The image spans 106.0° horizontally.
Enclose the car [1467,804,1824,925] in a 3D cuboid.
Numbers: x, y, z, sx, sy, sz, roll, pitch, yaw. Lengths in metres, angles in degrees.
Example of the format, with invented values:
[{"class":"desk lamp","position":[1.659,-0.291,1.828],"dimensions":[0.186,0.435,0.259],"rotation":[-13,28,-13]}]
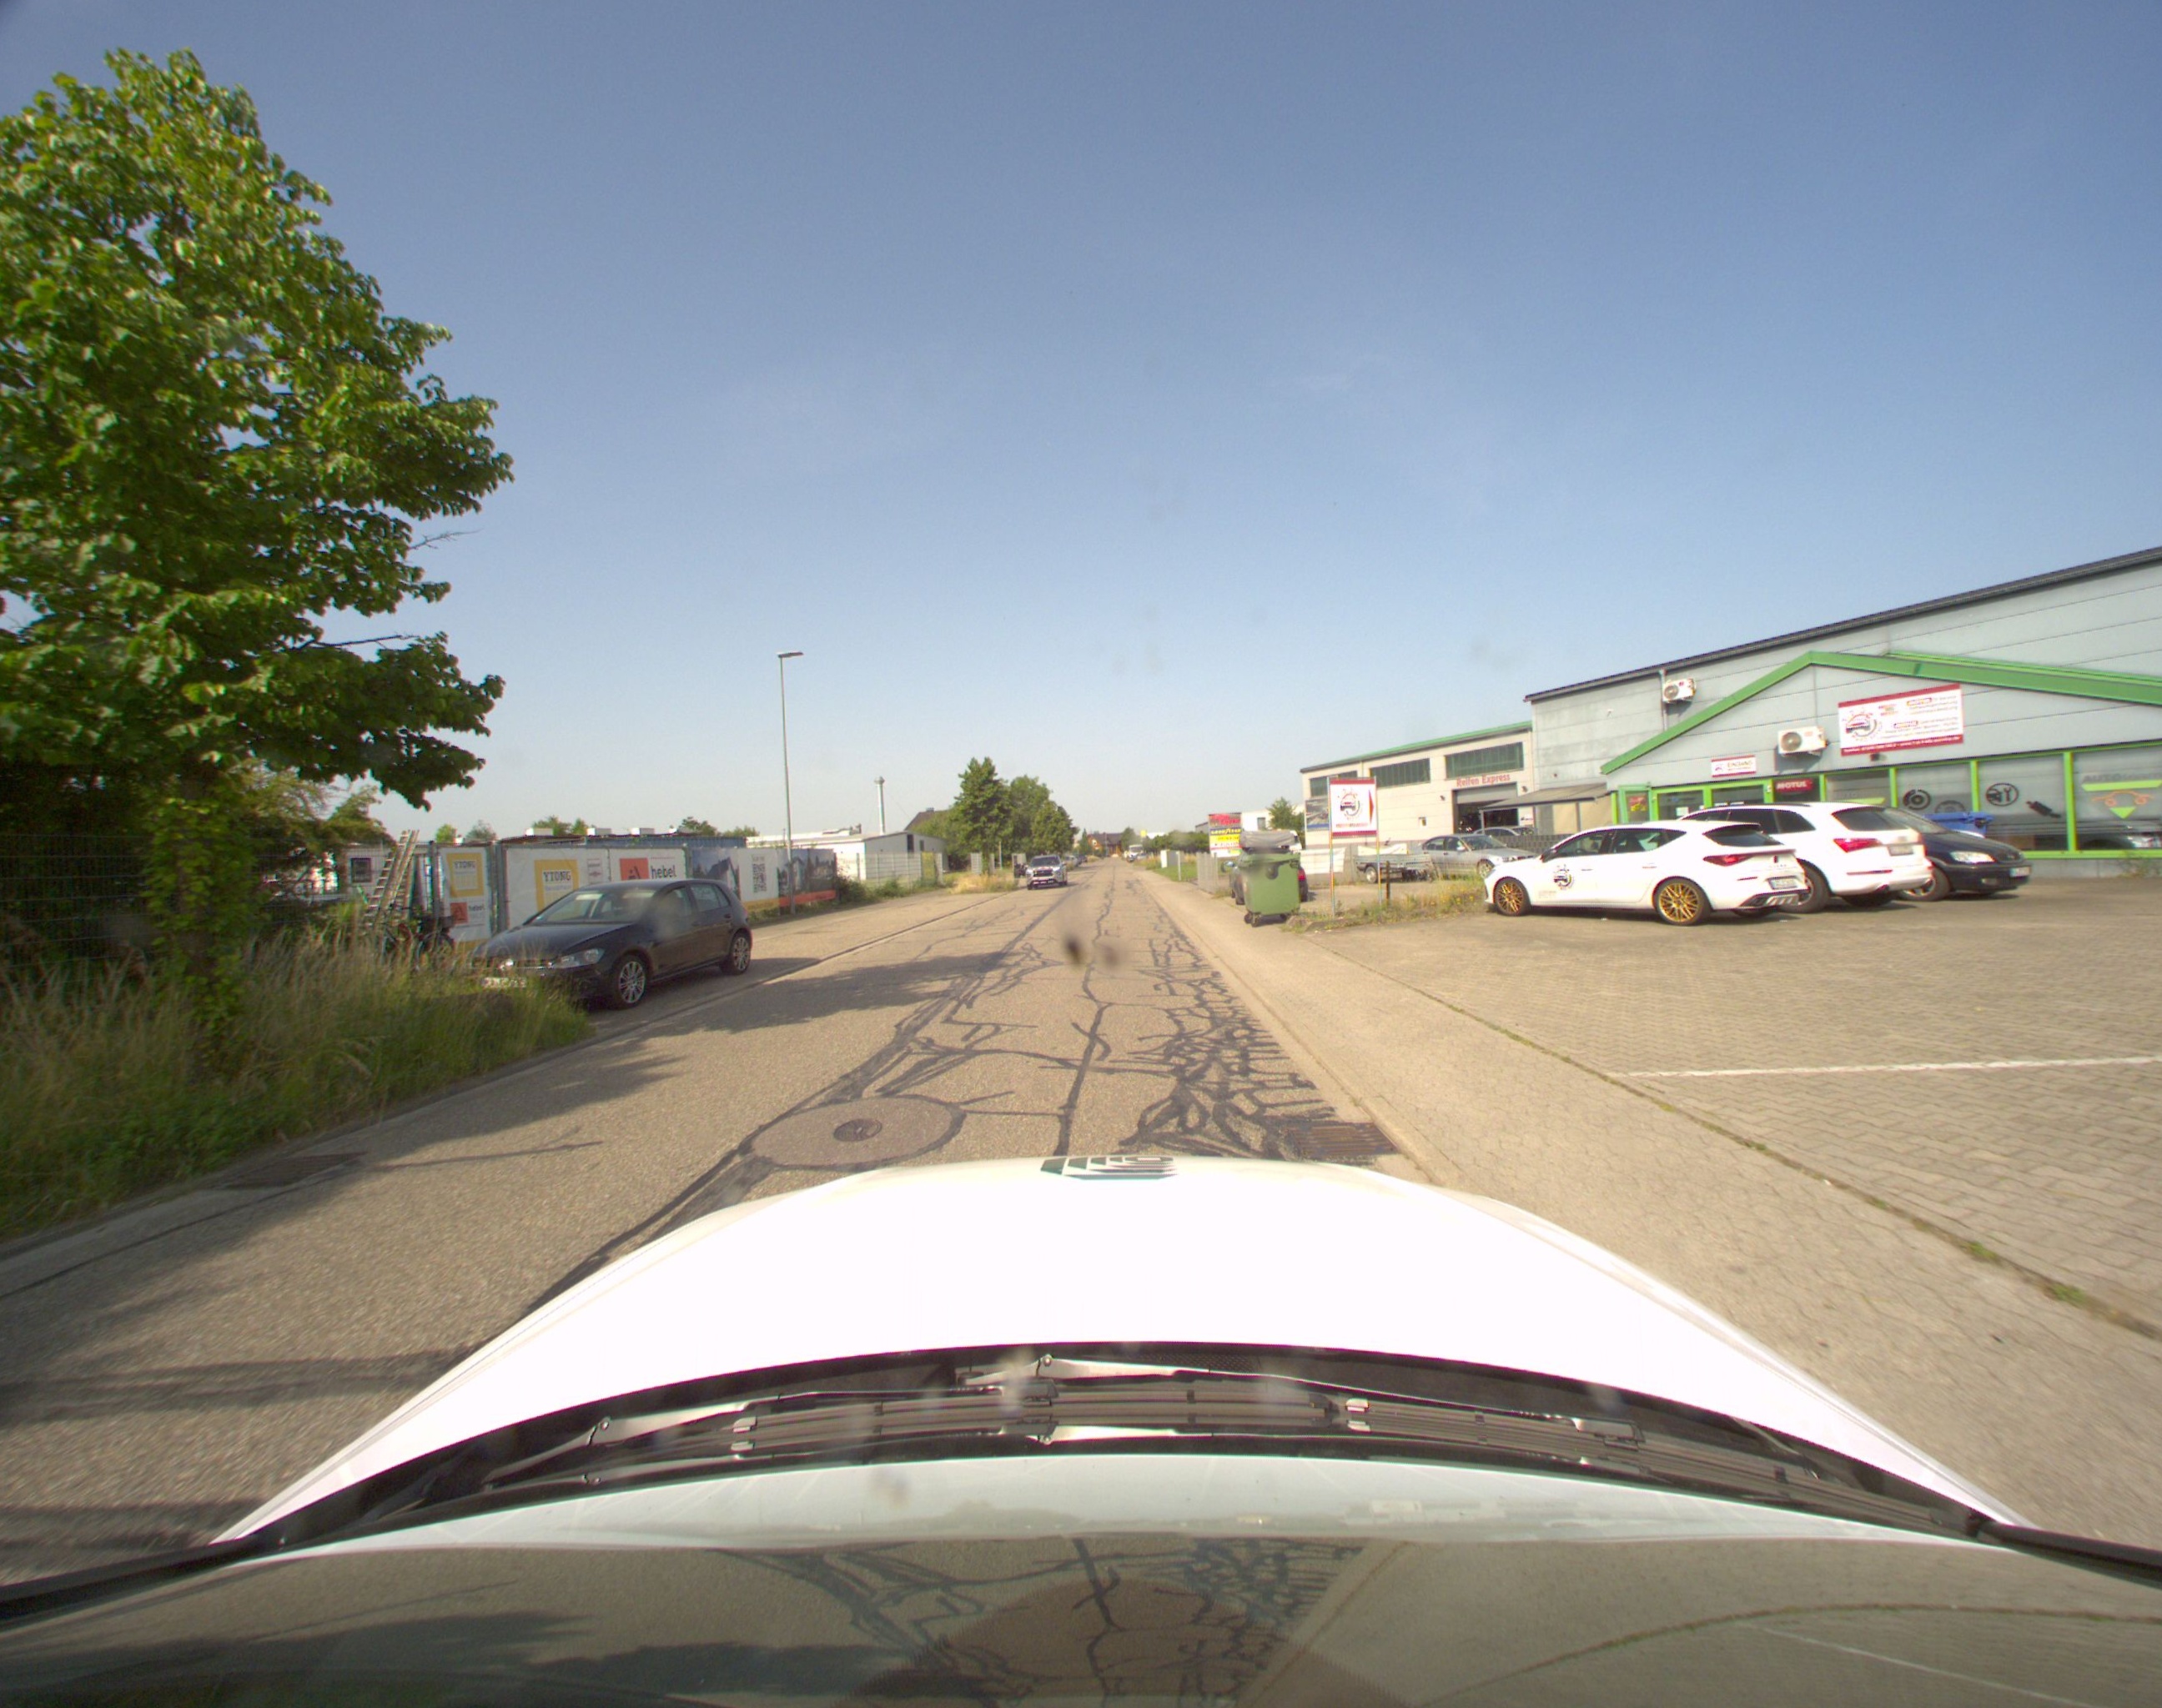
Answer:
[{"class":"car","position":[8.270,0.151,12.452],"dimensions":[1.694,1.466,4.231],"rotation":[-3,0,-22]}]

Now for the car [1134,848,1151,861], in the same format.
[{"class":"car","position":[7.515,0.046,99.910],"dimensions":[1.787,1.517,4.426],"rotation":[-4,0,2]}]

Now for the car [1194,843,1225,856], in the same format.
[{"class":"car","position":[17.661,-0.648,111.646],"dimensions":[4.559,1.589,1.667],"rotation":[-4,0,-42]}]

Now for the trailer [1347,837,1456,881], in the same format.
[{"class":"trailer","position":[9.903,0.140,25.322],"dimensions":[1.497,1.248,2.954],"rotation":[-2,0,-23]}]

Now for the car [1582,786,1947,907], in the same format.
[{"class":"car","position":[10.582,-0.087,13.025],"dimensions":[1.722,1.572,4.103],"rotation":[-3,0,-22]}]

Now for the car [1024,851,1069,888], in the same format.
[{"class":"car","position":[-1.649,0.716,40.611],"dimensions":[1.805,1.627,4.251],"rotation":[-4,0,2]}]

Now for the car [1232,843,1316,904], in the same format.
[{"class":"car","position":[5.012,0.454,21.649],"dimensions":[1.665,1.368,4.402],"rotation":[-3,0,7]}]

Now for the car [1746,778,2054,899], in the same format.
[{"class":"car","position":[13.429,-0.230,13.569],"dimensions":[1.645,1.720,3.190],"rotation":[-3,0,-22]}]

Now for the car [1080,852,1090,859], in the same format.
[{"class":"car","position":[0.785,0.316,159.415],"dimensions":[1.793,1.386,3.639],"rotation":[-2,0,2]}]

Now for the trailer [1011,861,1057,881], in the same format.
[{"class":"trailer","position":[-3.484,1.250,62.497],"dimensions":[2.572,1.184,9.368],"rotation":[-2,0,2]}]

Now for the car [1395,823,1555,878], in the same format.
[{"class":"car","position":[11.903,-0.074,24.956],"dimensions":[1.646,1.466,4.428],"rotation":[-3,0,-22]}]

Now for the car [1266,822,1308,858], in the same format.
[{"class":"car","position":[16.819,-1.094,66.803],"dimensions":[1.966,2.705,5.883],"rotation":[-3,0,2]}]

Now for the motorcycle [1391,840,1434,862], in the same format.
[{"class":"motorcycle","position":[17.725,-0.172,43.602],"dimensions":[0.804,1.094,2.186],"rotation":[-3,0,-21]}]

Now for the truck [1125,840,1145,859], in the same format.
[{"class":"truck","position":[8.161,-0.617,123.399],"dimensions":[2.352,2.681,6.508],"rotation":[-4,0,-1]}]

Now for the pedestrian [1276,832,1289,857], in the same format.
[{"class":"pedestrian","position":[13.538,-0.623,54.742],"dimensions":[0.697,1.640,0.752],"rotation":[-3,0,19]}]

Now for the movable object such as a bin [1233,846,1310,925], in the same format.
[{"class":"movable object such as a bin","position":[3.628,0.570,15.661],"dimensions":[1.076,1.353,1.507],"rotation":[-6,0,3]}]

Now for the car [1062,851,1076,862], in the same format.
[{"class":"car","position":[-1.581,0.315,110.416],"dimensions":[1.677,1.469,4.256],"rotation":[-2,0,2]}]

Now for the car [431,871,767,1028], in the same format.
[{"class":"car","position":[-5.910,1.058,10.679],"dimensions":[1.680,1.470,4.097],"rotation":[-3,0,4]}]

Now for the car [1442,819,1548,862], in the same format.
[{"class":"car","position":[17.011,-0.520,33.665],"dimensions":[1.639,1.568,3.781],"rotation":[-3,0,-19]}]

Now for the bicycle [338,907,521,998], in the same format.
[{"class":"bicycle","position":[-9.324,1.361,11.825],"dimensions":[0.560,0.973,2.453],"rotation":[-4,0,2]}]
